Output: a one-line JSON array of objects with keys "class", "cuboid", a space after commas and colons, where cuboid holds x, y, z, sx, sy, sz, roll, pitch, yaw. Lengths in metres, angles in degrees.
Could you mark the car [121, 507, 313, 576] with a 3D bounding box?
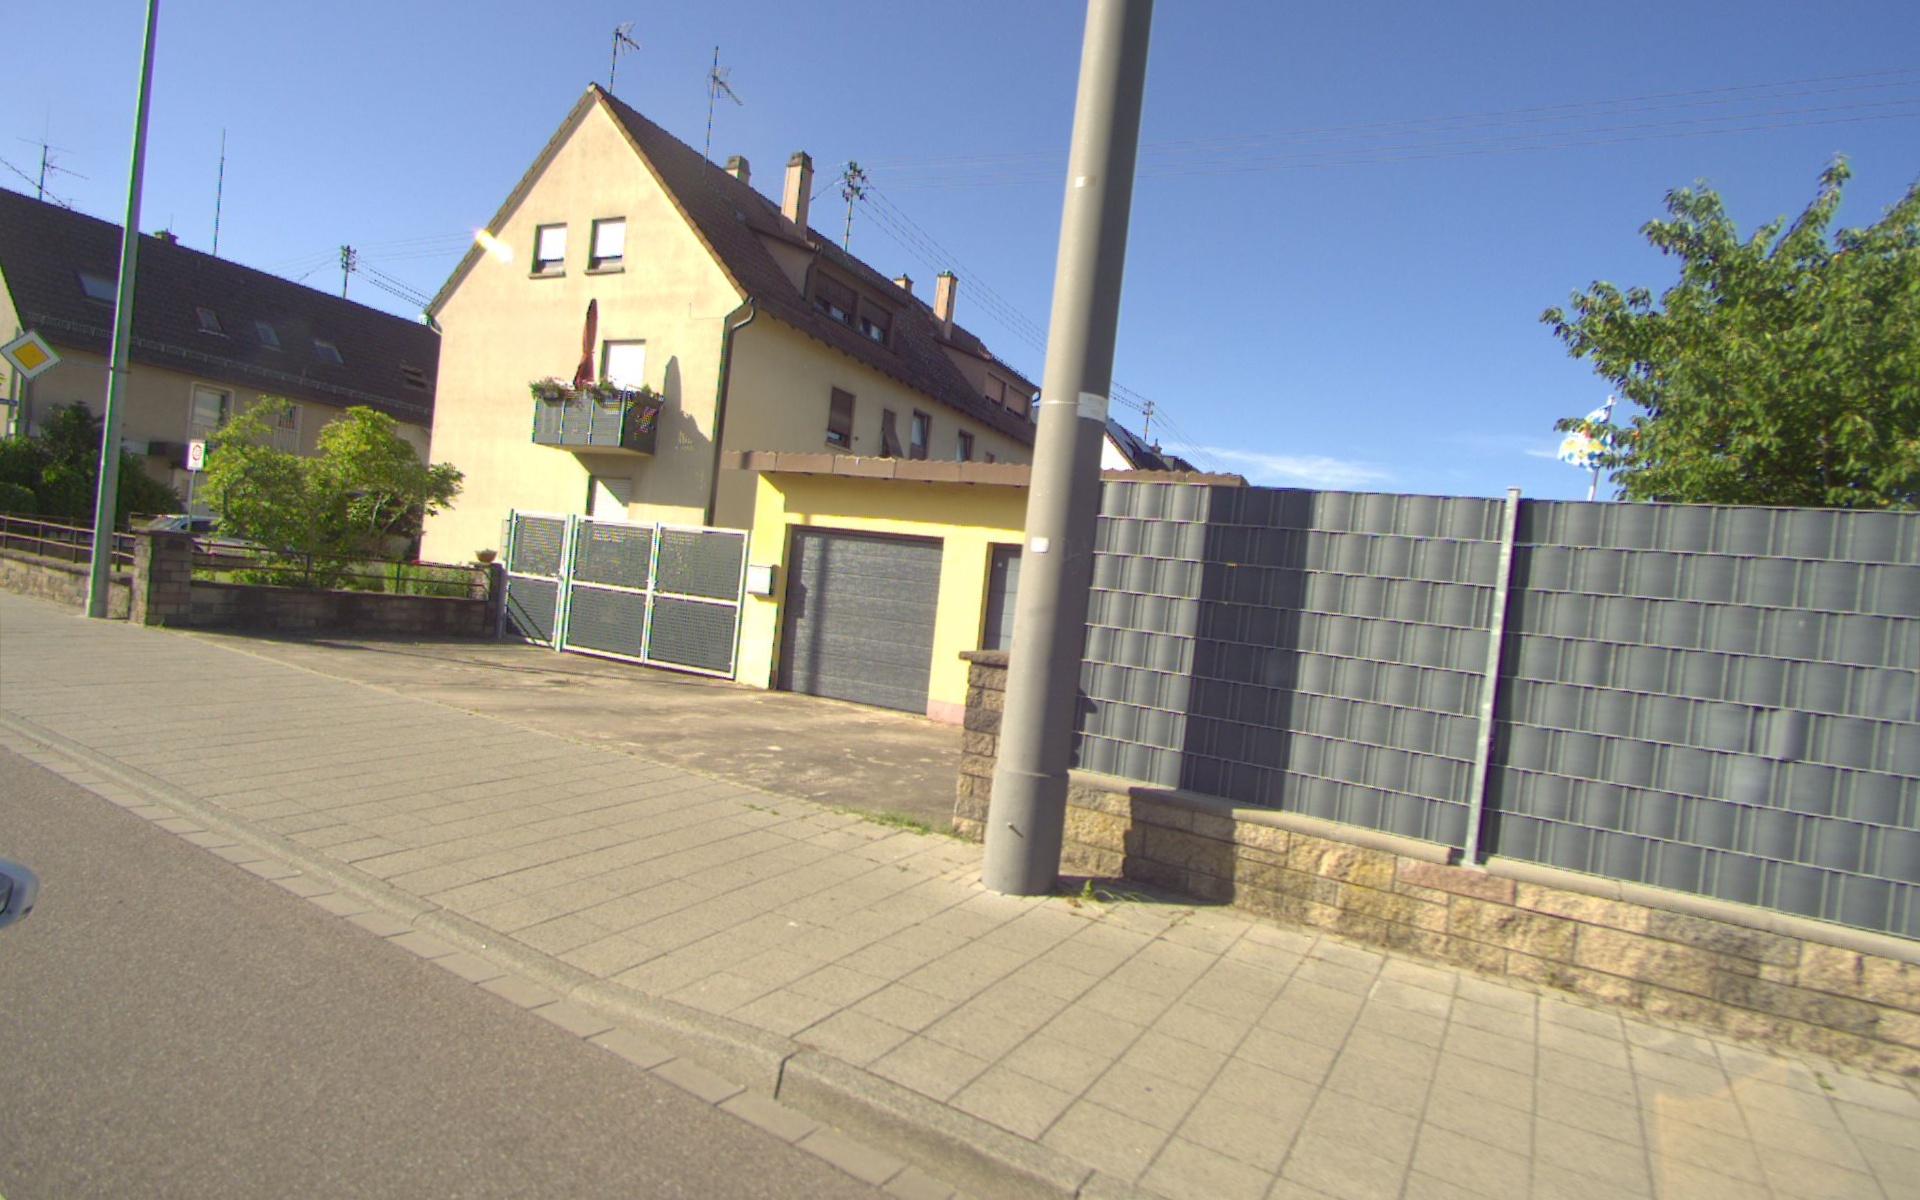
[{"class": "car", "cuboid": [-21.755, -1.670, 29.653, 1.770, 1.530, 4.147, 5, -1, 26]}]
